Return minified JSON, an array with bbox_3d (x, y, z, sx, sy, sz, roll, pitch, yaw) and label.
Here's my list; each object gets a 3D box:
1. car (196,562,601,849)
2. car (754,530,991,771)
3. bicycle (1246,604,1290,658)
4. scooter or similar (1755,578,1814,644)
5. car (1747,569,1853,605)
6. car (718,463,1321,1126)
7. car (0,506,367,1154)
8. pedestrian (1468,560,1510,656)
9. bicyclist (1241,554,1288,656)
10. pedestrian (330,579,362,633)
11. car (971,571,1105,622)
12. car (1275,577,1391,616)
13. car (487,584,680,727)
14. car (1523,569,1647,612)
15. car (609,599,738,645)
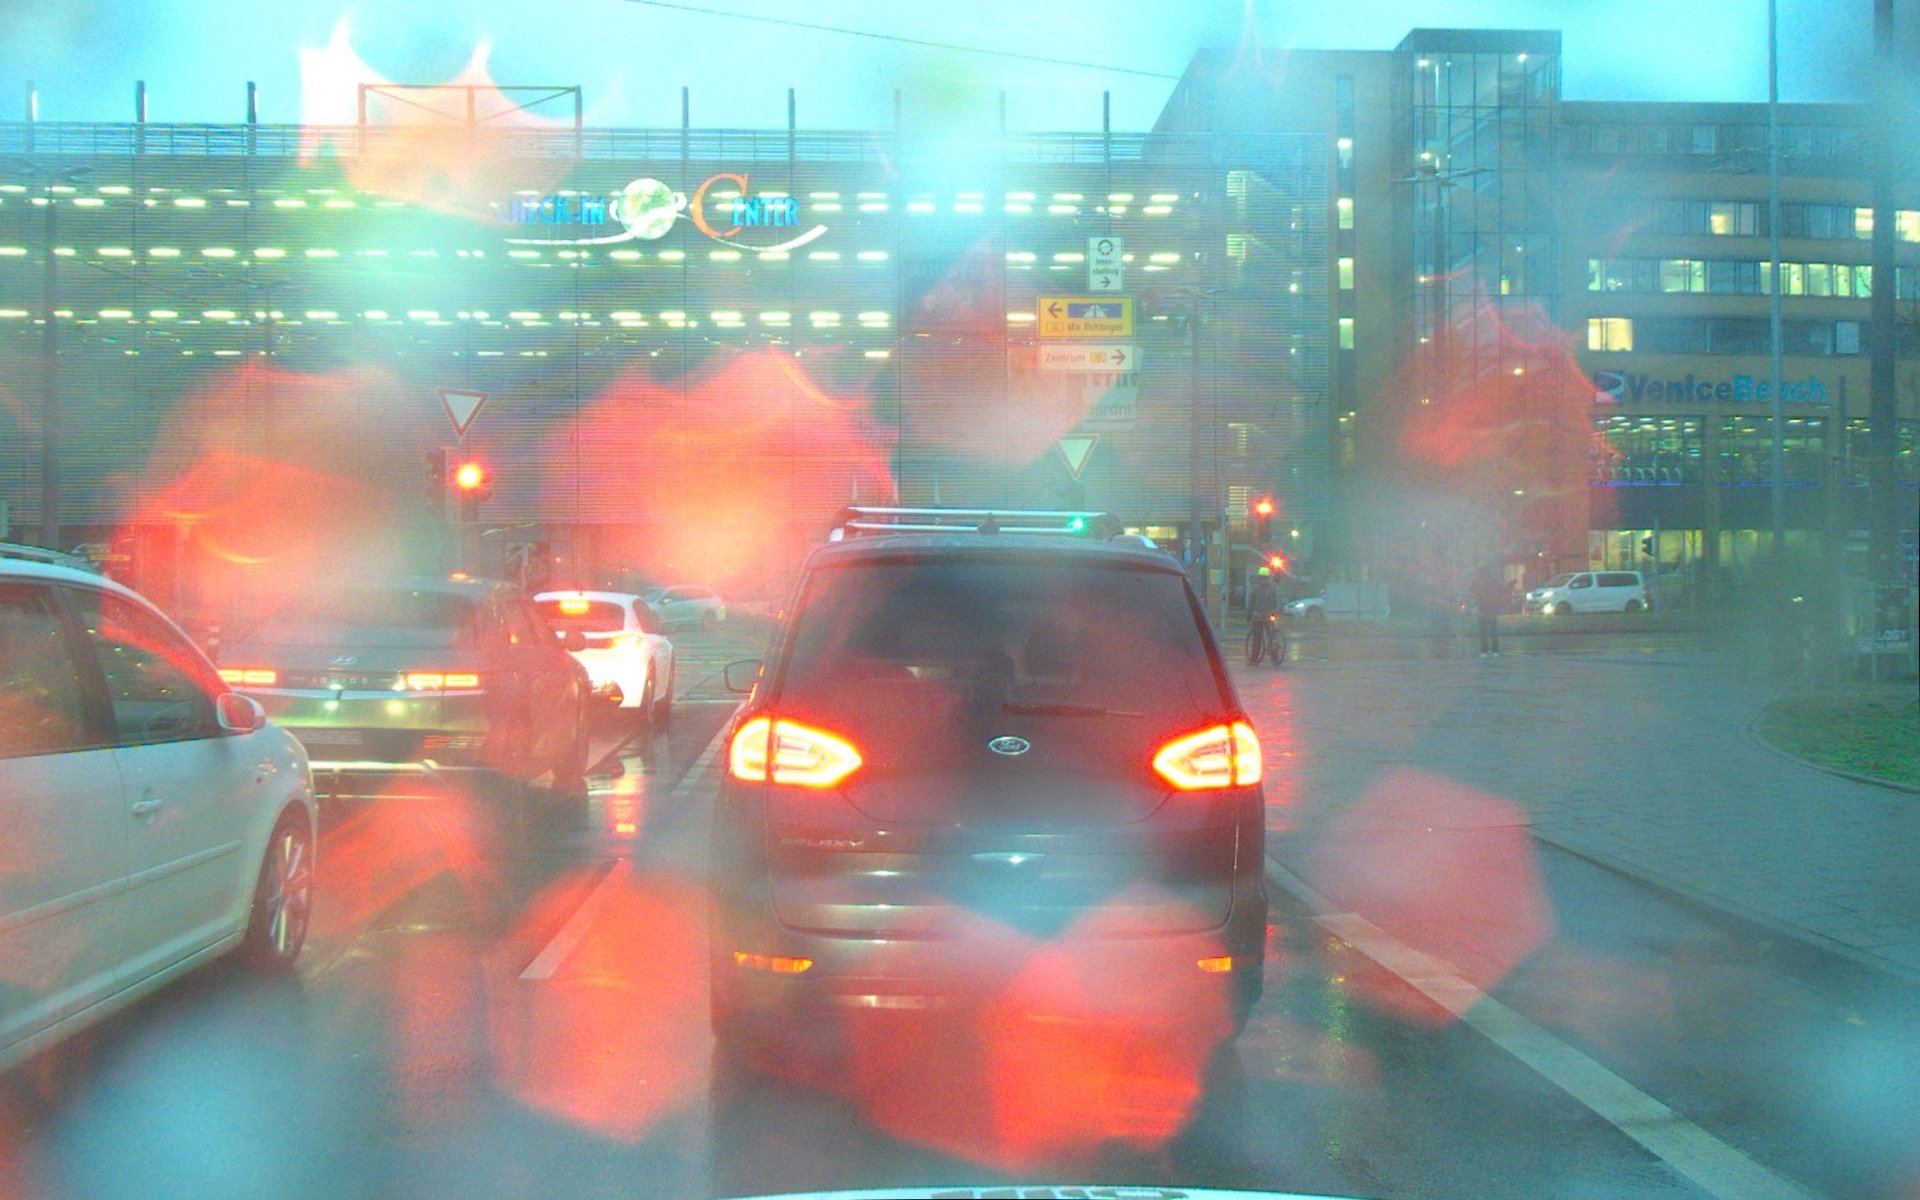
[{"bbox_3d":[-3.636,0.576,11.538,1.786,1.597,4.355,0,0,-7],"label":"car"},{"bbox_3d":[-0.864,0.362,14.944,1.808,1.837,4.482,0,1,-5],"label":"car"},{"bbox_3d":[5.926,0.582,31.893,0.641,0.990,1.867,0,0,5],"label":"bicycle"},{"bbox_3d":[15.437,0.200,30.965,1.290,1.227,0.331,0,0,-30],"label":"scooter or similar"},{"bbox_3d":[36.240,-0.567,71.353,4.345,1.470,1.619,-1,0,-21],"label":"car"},{"bbox_3d":[0.128,0.535,6.610,1.640,1.810,3.999,1,0,-1],"label":"car"},{"bbox_3d":[-3.289,0.576,5.067,1.638,1.627,4.220,0,0,-4],"label":"car"},{"bbox_3d":[10.733,0.160,33.540,0.757,1.910,0.635,0,0,22],"label":"pedestrian"},{"bbox_3d":[5.852,0.093,31.832,0.774,1.923,0.990,0,0,5],"label":"bicyclist"},{"bbox_3d":[-28.872,0.273,77.754,1.087,2.482,0.966,1,-1,-2],"label":"pedestrian"},{"bbox_3d":[3.021,-0.149,64.331,4.864,1.904,1.898,-1,0,-15],"label":"car"},{"bbox_3d":[15.085,-0.150,66.976,4.245,1.512,1.863,-1,0,-7],"label":"car"},{"bbox_3d":[-4.255,0.565,19.220,1.724,1.489,3.912,0,0,-6],"label":"car"},{"bbox_3d":[25.804,-0.381,68.361,4.553,1.706,1.782,-1,0,-10],"label":"car"},{"bbox_3d":[-9.314,0.694,54.063,1.610,1.410,4.465,0,0,31],"label":"car"}]
